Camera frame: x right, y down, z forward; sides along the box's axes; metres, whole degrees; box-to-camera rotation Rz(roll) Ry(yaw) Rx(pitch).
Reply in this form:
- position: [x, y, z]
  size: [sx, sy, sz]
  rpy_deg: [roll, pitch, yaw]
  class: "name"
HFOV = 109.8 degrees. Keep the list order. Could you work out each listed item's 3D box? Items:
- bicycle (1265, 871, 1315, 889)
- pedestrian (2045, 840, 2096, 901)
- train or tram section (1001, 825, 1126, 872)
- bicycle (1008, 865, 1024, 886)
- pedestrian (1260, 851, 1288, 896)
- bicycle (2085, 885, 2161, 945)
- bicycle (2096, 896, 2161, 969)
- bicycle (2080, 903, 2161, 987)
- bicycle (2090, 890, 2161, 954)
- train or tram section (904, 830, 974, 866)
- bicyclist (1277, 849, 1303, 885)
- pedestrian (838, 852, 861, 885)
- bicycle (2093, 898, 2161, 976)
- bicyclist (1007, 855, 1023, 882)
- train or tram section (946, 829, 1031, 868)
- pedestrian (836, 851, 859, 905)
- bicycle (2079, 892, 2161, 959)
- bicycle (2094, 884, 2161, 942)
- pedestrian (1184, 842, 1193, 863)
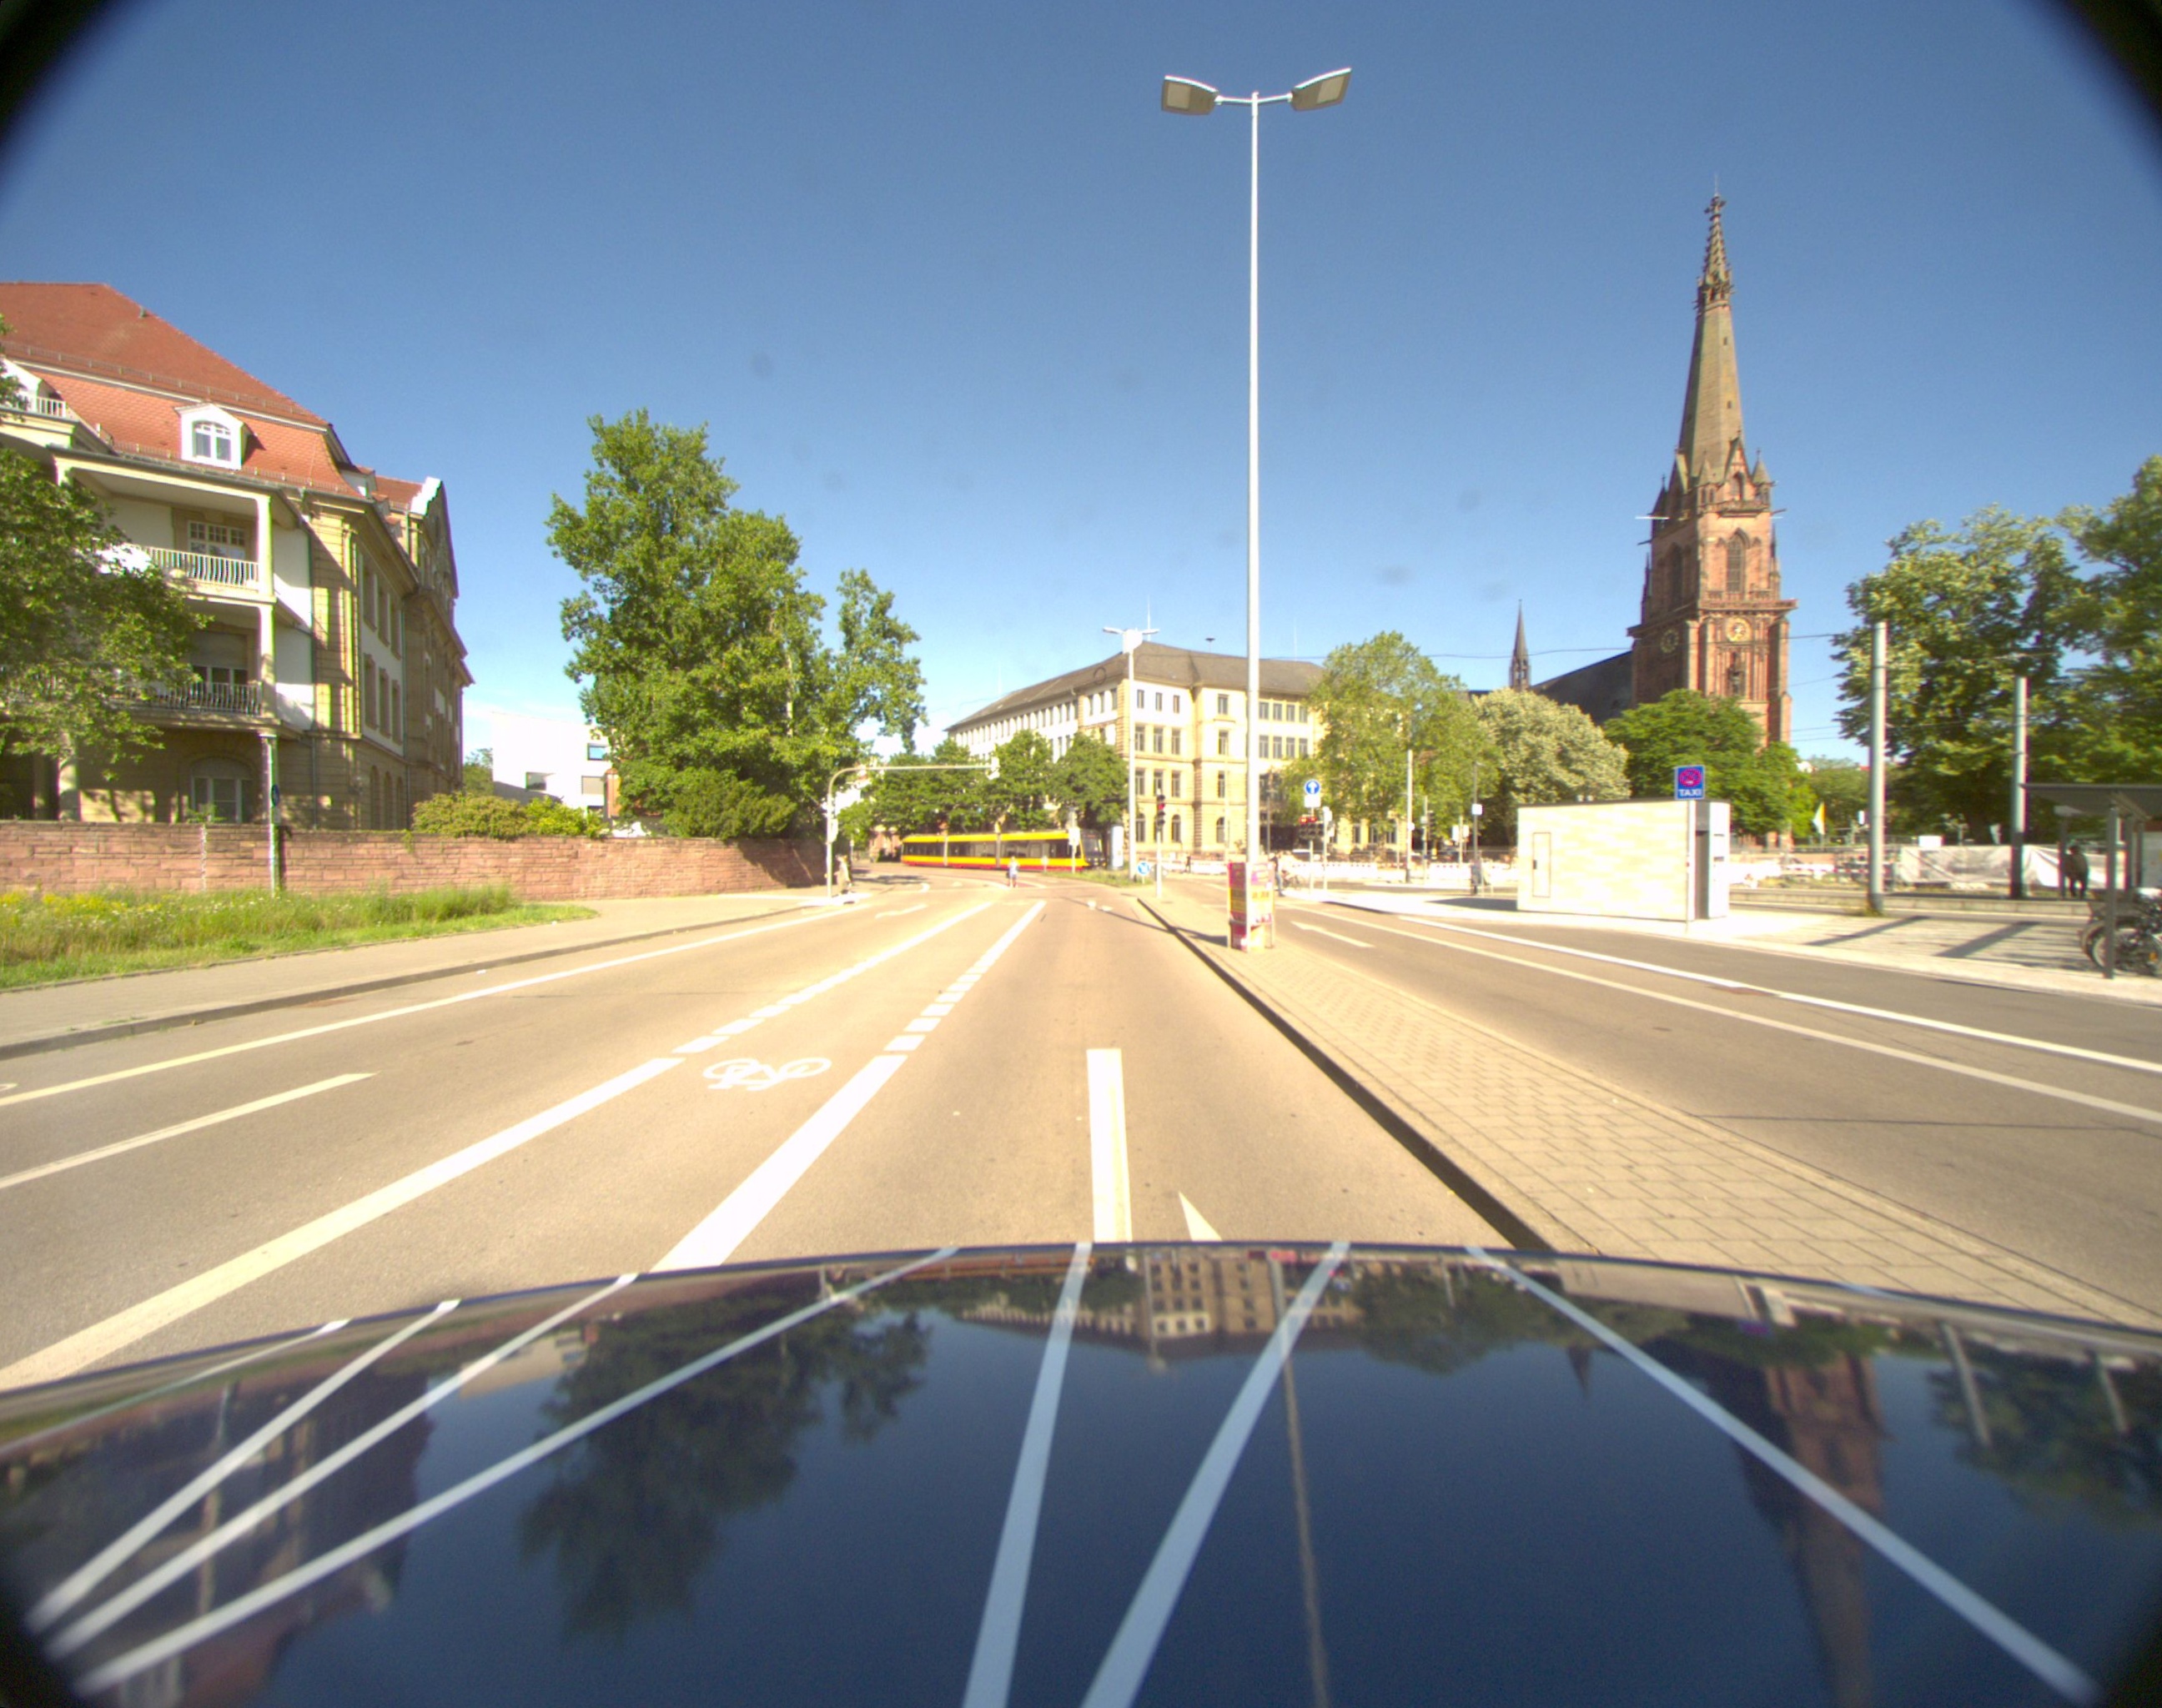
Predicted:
- position: [9.283, 1.149, 33.820]
  size: [2.053, 0.777, 0.740]
  rpy_deg: [0, 1, -13]
  class: "bicycle"
- position: [30.639, 0.499, 23.542]
  size: [0.619, 1.849, 0.703]
  rpy_deg: [0, 1, 11]
  class: "pedestrian"
- position: [-1.800, -0.455, 62.126]
  size: [2.947, 3.500, 13.802]
  rpy_deg: [-1, 1, -36]
  class: "train or tram section"
- position: [-3.442, 1.123, 39.855]
  size: [0.741, 0.989, 2.305]
  rpy_deg: [-2, 1, -6]
  class: "bicycle"
- position: [7.527, 0.760, 29.632]
  size: [1.001, 1.733, 0.631]
  rpy_deg: [0, 1, 8]
  class: "pedestrian"
- position: [19.025, 1.085, 13.330]
  size: [0.407, 0.993, 1.679]
  rpy_deg: [-3, 2, -33]
  class: "bicycle"
- position: [16.126, 1.183, 10.992]
  size: [0.407, 0.993, 1.678]
  rpy_deg: [-3, 3, -33]
  class: "bicycle"
- position: [13.982, 1.189, 9.544]
  size: [0.407, 0.993, 1.678]
  rpy_deg: [-3, 3, -33]
  class: "bicycle"
- position: [17.962, 1.138, 12.452]
  size: [0.407, 0.993, 1.679]
  rpy_deg: [-3, 2, -33]
  class: "bicycle"
- position: [-15.541, -0.657, 82.161]
  size: [2.947, 3.662, 11.646]
  rpy_deg: [-1, 1, -34]
  class: "train or tram section"
- position: [9.284, 0.573, 33.806]
  size: [0.886, 1.562, 0.740]
  rpy_deg: [0, 1, -13]
  class: "bicyclist"
- position: [-11.981, 0.742, 39.380]
  size: [0.931, 1.657, 0.631]
  rpy_deg: [0, 1, 6]
  class: "pedestrian"
- position: [15.027, 1.167, 10.201]
  size: [0.407, 0.993, 1.678]
  rpy_deg: [-3, 3, -33]
  class: "bicycle"
- position: [-3.443, 0.760, 39.673]
  size: [0.741, 1.363, 0.626]
  rpy_deg: [-2, 1, -6]
  class: "bicyclist"
- position: [-9.054, -0.524, 72.607]
  size: [2.947, 3.500, 11.646]
  rpy_deg: [-1, 1, -34]
  class: "train or tram section"
- position: [-8.213, 0.834, 26.708]
  size: [0.631, 1.847, 0.785]
  rpy_deg: [-1, 1, -30]
  class: "pedestrian"
- position: [17.182, 1.142, 12.005]
  size: [0.407, 0.993, 1.679]
  rpy_deg: [-3, 2, -33]
  class: "bicycle"
- position: [19.511, 1.066, 13.572]
  size: [0.407, 0.993, 1.679]
  rpy_deg: [-3, 2, -33]
  class: "bicycle"
- position: [8.994, -0.130, 63.607]
  size: [0.540, 1.710, 0.545]
  rpy_deg: [-1, 1, -37]
  class: "pedestrian"
